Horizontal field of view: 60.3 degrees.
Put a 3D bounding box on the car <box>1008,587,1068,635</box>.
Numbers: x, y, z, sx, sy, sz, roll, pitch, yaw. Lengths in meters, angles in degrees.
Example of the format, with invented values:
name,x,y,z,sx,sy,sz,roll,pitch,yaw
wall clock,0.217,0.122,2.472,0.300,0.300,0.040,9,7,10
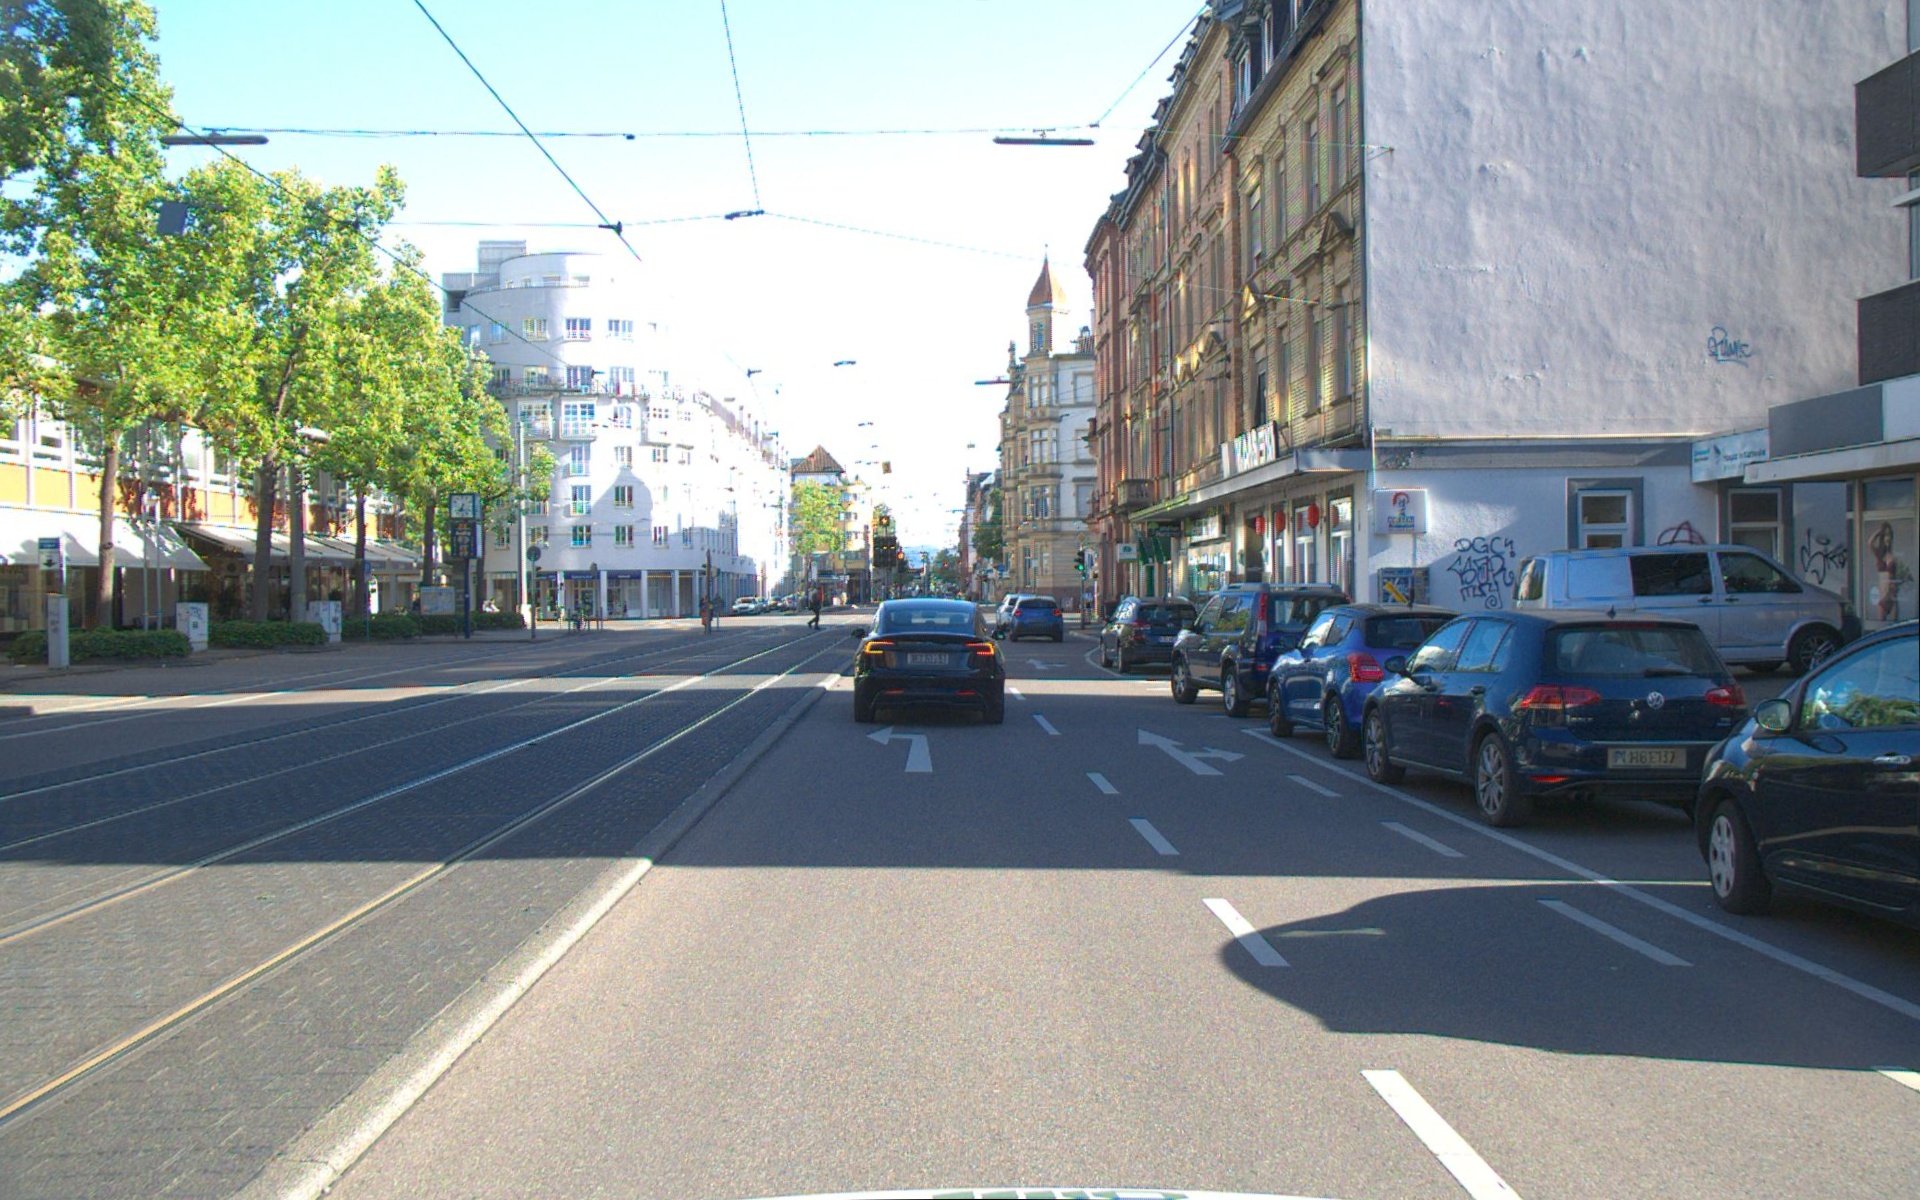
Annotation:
name,x,y,z,sx,sy,sz,roll,pitch,yaw
car,2.522,0.336,54.353,1.745,1.476,3.653,1,0,-1

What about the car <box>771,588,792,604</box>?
name,x,y,z,sx,sy,sz,roll,pitch,yaw
car,-17.713,-0.434,164.087,1.694,1.541,4.403,-1,0,-2

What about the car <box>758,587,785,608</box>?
name,x,y,z,sx,sy,sz,roll,pitch,yaw
car,-18.042,-0.282,158.187,2.182,1.944,4.607,-1,0,-2

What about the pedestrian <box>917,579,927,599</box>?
name,x,y,z,sx,sy,sz,roll,pitch,yaw
pedestrian,-3.546,-1.022,153.179,0.704,1.808,0.563,-1,0,35

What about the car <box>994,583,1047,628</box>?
name,x,y,z,sx,sy,sz,roll,pitch,yaw
car,2.455,0.233,67.838,1.953,1.773,3.999,1,-1,-1

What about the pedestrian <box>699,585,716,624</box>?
name,x,y,z,sx,sy,sz,roll,pitch,yaw
pedestrian,-10.139,0.182,66.495,0.489,1.544,0.859,-2,0,-1

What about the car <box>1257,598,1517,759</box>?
name,x,y,z,sx,sy,sz,roll,pitch,yaw
car,4.361,0.739,17.475,1.679,1.480,3.777,1,0,-1

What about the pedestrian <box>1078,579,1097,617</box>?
name,x,y,z,sx,sy,sz,roll,pitch,yaw
pedestrian,5.604,-0.089,72.774,0.668,1.635,0.729,-1,0,-10

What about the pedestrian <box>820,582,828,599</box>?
name,x,y,z,sx,sy,sz,roll,pitch,yaw
pedestrian,-12.786,-0.883,155.573,0.716,1.554,0.742,0,1,-2

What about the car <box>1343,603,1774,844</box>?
name,x,y,z,sx,sy,sz,roll,pitch,yaw
car,4.304,0.794,12.642,1.664,1.509,4.225,1,0,-1

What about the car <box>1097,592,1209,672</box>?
name,x,y,z,sx,sy,sz,roll,pitch,yaw
car,3.866,0.594,33.691,1.656,1.476,4.358,1,0,-1

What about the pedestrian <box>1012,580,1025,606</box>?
name,x,y,z,sx,sy,sz,roll,pitch,yaw
pedestrian,4.173,-0.501,118.062,0.764,1.780,1.092,0,2,-4

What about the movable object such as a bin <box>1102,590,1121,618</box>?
name,x,y,z,sx,sy,sz,roll,pitch,yaw
movable object such as a bin,6.218,0.165,67.848,0.649,1.091,0.591,-4,0,1

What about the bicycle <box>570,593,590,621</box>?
name,x,y,z,sx,sy,sz,roll,pitch,yaw
bicycle,-16.947,0.319,73.809,0.487,1.207,2.234,-1,1,-3

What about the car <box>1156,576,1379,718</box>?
name,x,y,z,sx,sy,sz,roll,pitch,yaw
car,4.120,0.583,22.928,1.658,1.743,4.607,1,0,-8

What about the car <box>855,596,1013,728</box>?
name,x,y,z,sx,sy,sz,roll,pitch,yaw
car,-0.343,0.701,20.905,1.774,1.448,4.153,1,0,-1

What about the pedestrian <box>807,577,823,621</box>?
name,x,y,z,sx,sy,sz,roll,pitch,yaw
pedestrian,-6.066,-0.041,69.329,0.546,1.794,0.895,-2,0,-1

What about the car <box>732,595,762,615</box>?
name,x,y,z,sx,sy,sz,roll,pitch,yaw
car,-16.758,0.399,130.339,1.954,1.477,4.500,-1,1,-3

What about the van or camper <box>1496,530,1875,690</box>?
name,x,y,z,sx,sy,sz,roll,pitch,yaw
van or camper,10.494,0.130,24.209,4.595,1.966,2.001,-4,0,2

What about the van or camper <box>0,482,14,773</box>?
name,x,y,z,sx,sy,sz,roll,pitch,yaw
van or camper,-9.991,0.319,12.426,1.996,2.786,7.016,-2,1,-3

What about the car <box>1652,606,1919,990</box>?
name,x,y,z,sx,sy,sz,roll,pitch,yaw
car,4.550,0.796,7.160,1.539,1.509,3.556,1,0,-1

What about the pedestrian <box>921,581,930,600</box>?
name,x,y,z,sx,sy,sz,roll,pitch,yaw
pedestrian,-3.107,-0.857,148.094,0.623,1.727,0.934,1,-1,6
